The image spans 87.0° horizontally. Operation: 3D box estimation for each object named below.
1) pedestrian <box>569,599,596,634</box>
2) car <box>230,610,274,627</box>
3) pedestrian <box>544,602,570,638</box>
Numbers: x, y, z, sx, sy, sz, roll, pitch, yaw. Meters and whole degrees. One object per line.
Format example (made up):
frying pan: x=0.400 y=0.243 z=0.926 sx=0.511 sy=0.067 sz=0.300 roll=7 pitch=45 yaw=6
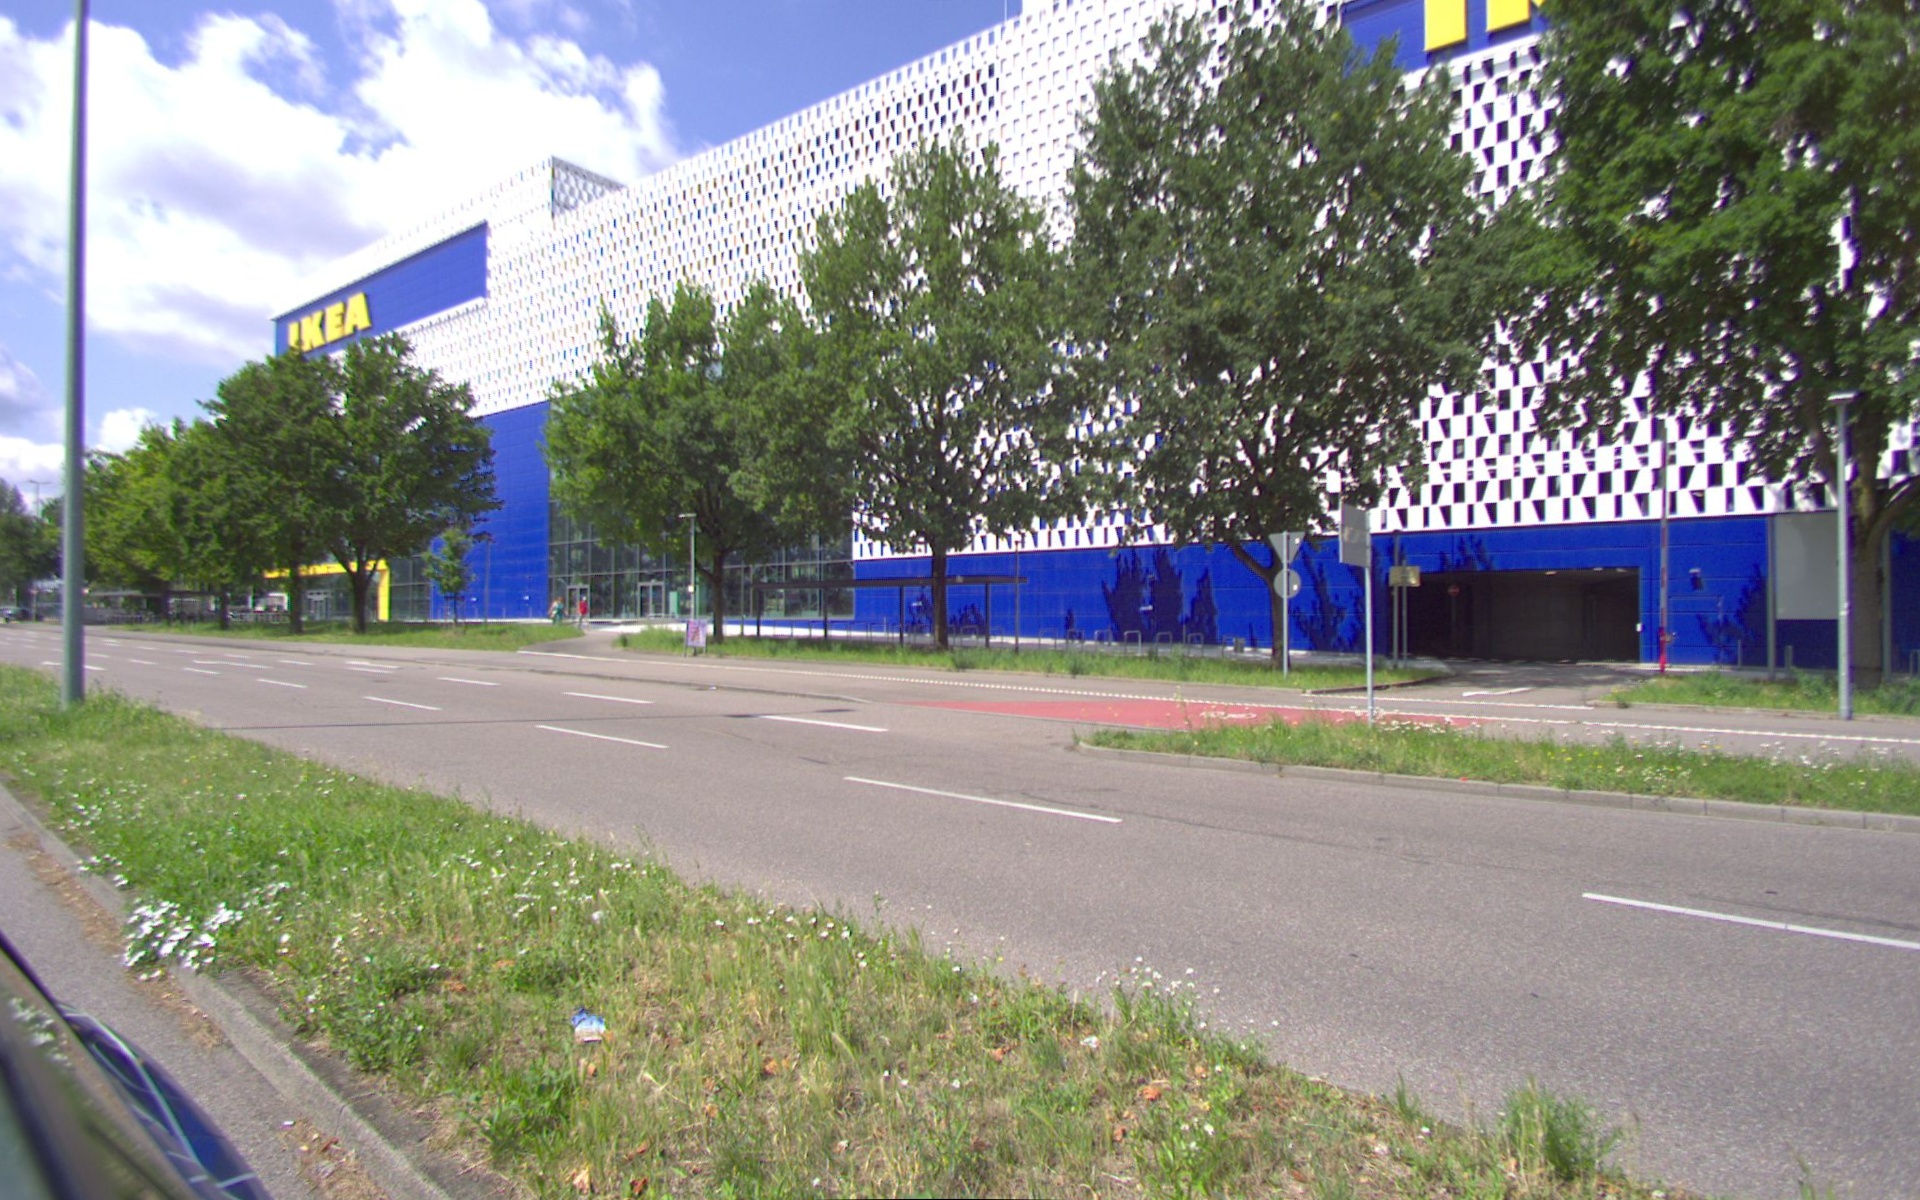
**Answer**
pedestrian: x=-19.323 y=0.815 z=51.790 sx=1.165 sy=1.741 sz=0.842 roll=0 pitch=0 yaw=43
car: x=-85.670 y=2.215 z=122.486 sx=1.997 sy=2.029 sz=3.949 roll=0 pitch=1 yaw=38
pedestrian: x=-20.336 y=1.000 z=51.066 sx=1.165 sy=1.741 sz=0.842 roll=0 pitch=0 yaw=43
